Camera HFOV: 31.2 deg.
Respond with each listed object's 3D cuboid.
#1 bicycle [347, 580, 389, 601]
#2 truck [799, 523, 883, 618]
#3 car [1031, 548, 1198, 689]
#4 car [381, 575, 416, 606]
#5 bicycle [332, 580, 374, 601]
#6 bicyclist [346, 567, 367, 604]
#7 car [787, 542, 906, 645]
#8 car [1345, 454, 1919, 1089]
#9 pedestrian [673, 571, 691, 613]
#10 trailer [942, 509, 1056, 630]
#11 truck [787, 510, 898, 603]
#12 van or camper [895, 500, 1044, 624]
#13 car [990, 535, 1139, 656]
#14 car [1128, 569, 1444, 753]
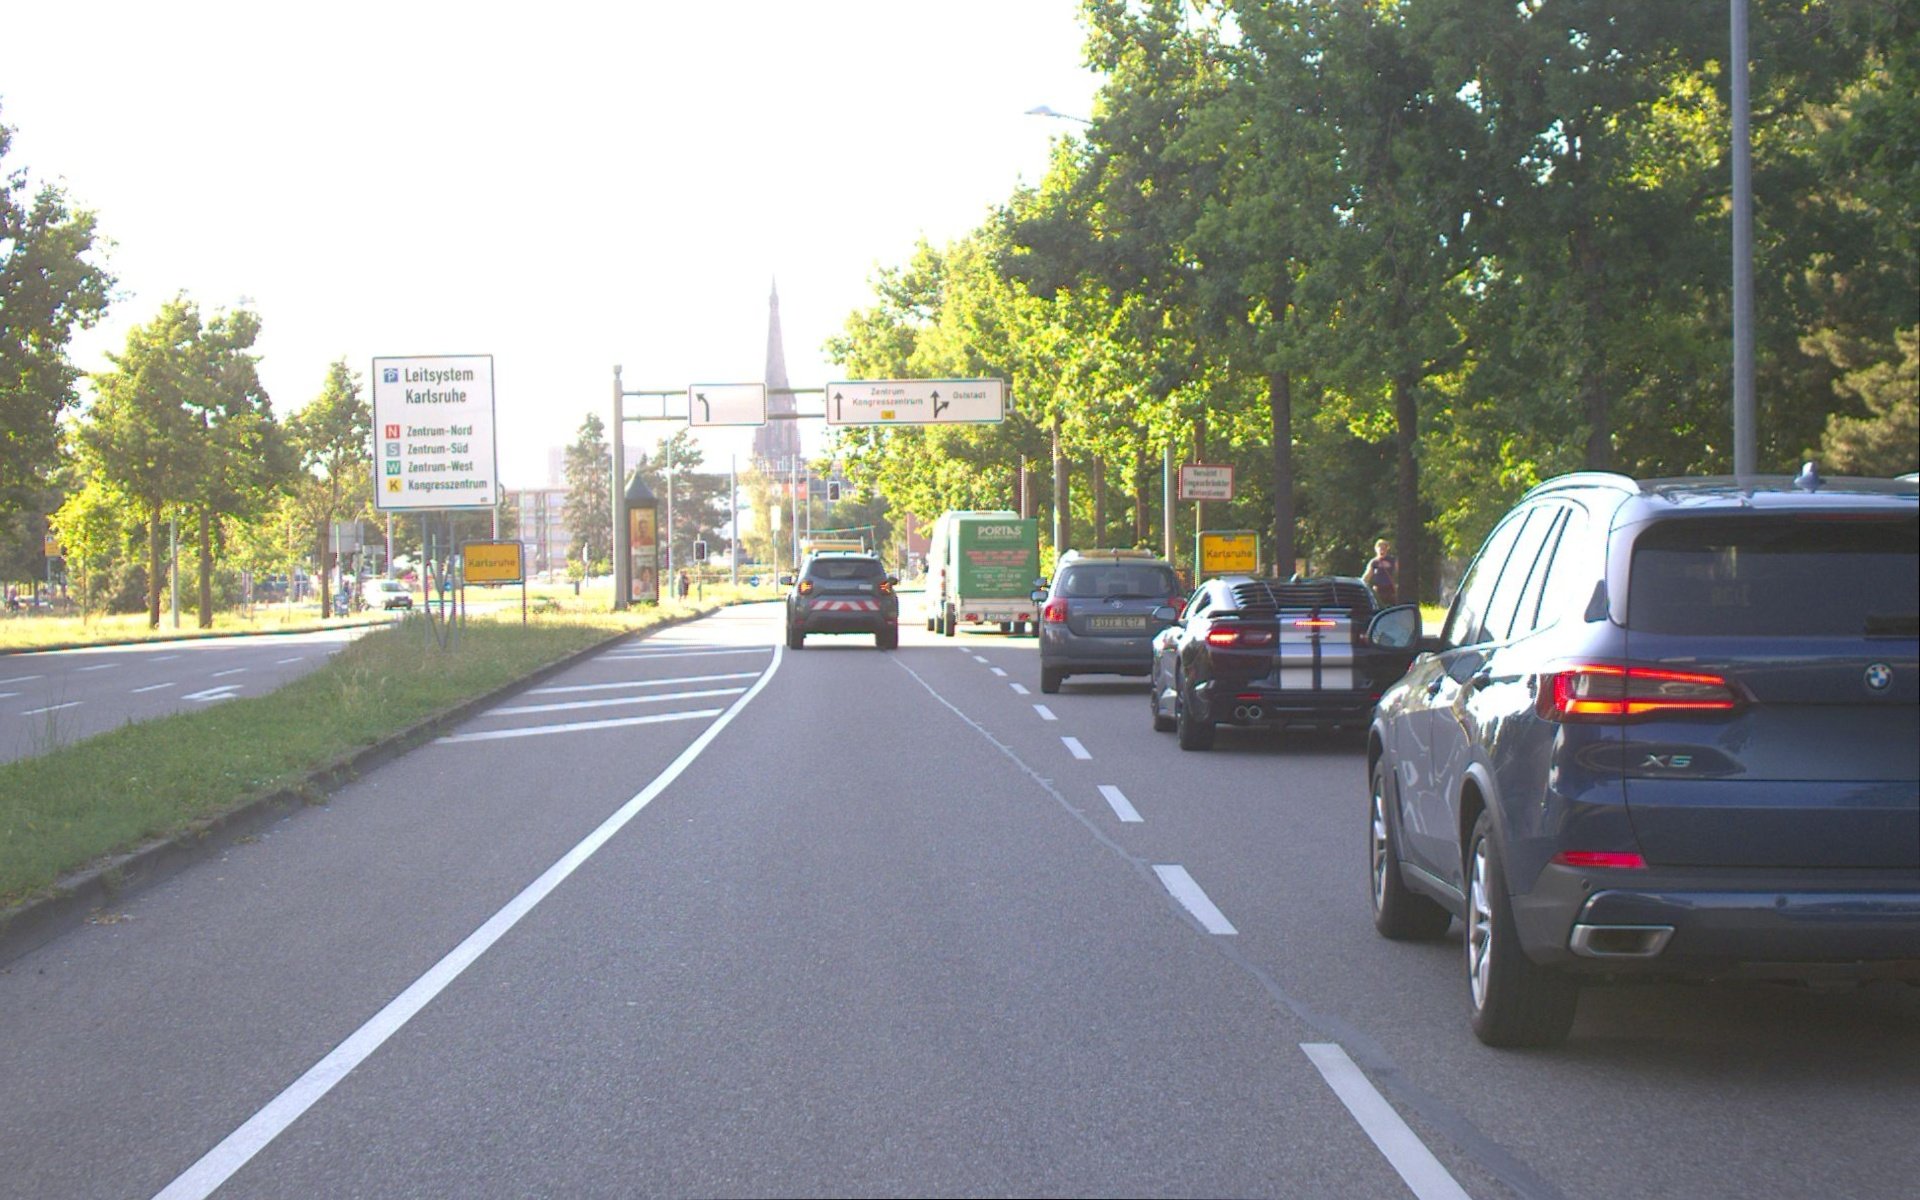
[{"bbox_3d":[-28.564,-0.457,165.988,1.908,1.016,0.504,-1,1,4],"label":"bicycle"},{"bbox_3d":[-3.488,-0.868,99.833,2.219,2.642,4.774,-1,1,-4],"label":"truck"},{"bbox_3d":[1.709,0.166,38.486,1.747,1.468,3.819,-1,1,2],"label":"car"},{"bbox_3d":[-29.844,-0.502,182.807,1.562,1.569,3.413,-1,0,-6],"label":"car"},{"bbox_3d":[-29.057,-0.450,164.556,1.909,1.016,0.504,0,0,13],"label":"bicycle"},{"bbox_3d":[-28.876,-0.704,164.511,0.813,1.764,0.496,0,0,12],"label":"bicyclist"},{"bbox_3d":[-1.967,-0.116,58.418,1.905,1.654,4.000,-1,0,-3],"label":"car"},{"bbox_3d":[2.520,0.462,11.690,1.955,1.721,4.699,0,0,1],"label":"car"},{"bbox_3d":[-13.206,-0.380,163.149,0.789,2.007,0.701,-1,1,-9],"label":"pedestrian"},{"bbox_3d":[0.770,-0.624,70.264,2.090,2.392,3.501,0,1,-3],"label":"trailer"},{"bbox_3d":[-3.424,-1.243,98.752,2.580,2.549,6.253,-1,1,-7],"label":"truck"},{"bbox_3d":[0.148,-0.852,76.388,2.284,2.620,6.585,0,1,-9],"label":"van or camper"},{"bbox_3d":[1.456,-0.072,49.254,1.747,1.615,3.820,2,0,-4],"label":"car"},{"bbox_3d":[2.514,0.428,27.608,1.854,1.333,4.626,0,1,-3],"label":"car"}]
